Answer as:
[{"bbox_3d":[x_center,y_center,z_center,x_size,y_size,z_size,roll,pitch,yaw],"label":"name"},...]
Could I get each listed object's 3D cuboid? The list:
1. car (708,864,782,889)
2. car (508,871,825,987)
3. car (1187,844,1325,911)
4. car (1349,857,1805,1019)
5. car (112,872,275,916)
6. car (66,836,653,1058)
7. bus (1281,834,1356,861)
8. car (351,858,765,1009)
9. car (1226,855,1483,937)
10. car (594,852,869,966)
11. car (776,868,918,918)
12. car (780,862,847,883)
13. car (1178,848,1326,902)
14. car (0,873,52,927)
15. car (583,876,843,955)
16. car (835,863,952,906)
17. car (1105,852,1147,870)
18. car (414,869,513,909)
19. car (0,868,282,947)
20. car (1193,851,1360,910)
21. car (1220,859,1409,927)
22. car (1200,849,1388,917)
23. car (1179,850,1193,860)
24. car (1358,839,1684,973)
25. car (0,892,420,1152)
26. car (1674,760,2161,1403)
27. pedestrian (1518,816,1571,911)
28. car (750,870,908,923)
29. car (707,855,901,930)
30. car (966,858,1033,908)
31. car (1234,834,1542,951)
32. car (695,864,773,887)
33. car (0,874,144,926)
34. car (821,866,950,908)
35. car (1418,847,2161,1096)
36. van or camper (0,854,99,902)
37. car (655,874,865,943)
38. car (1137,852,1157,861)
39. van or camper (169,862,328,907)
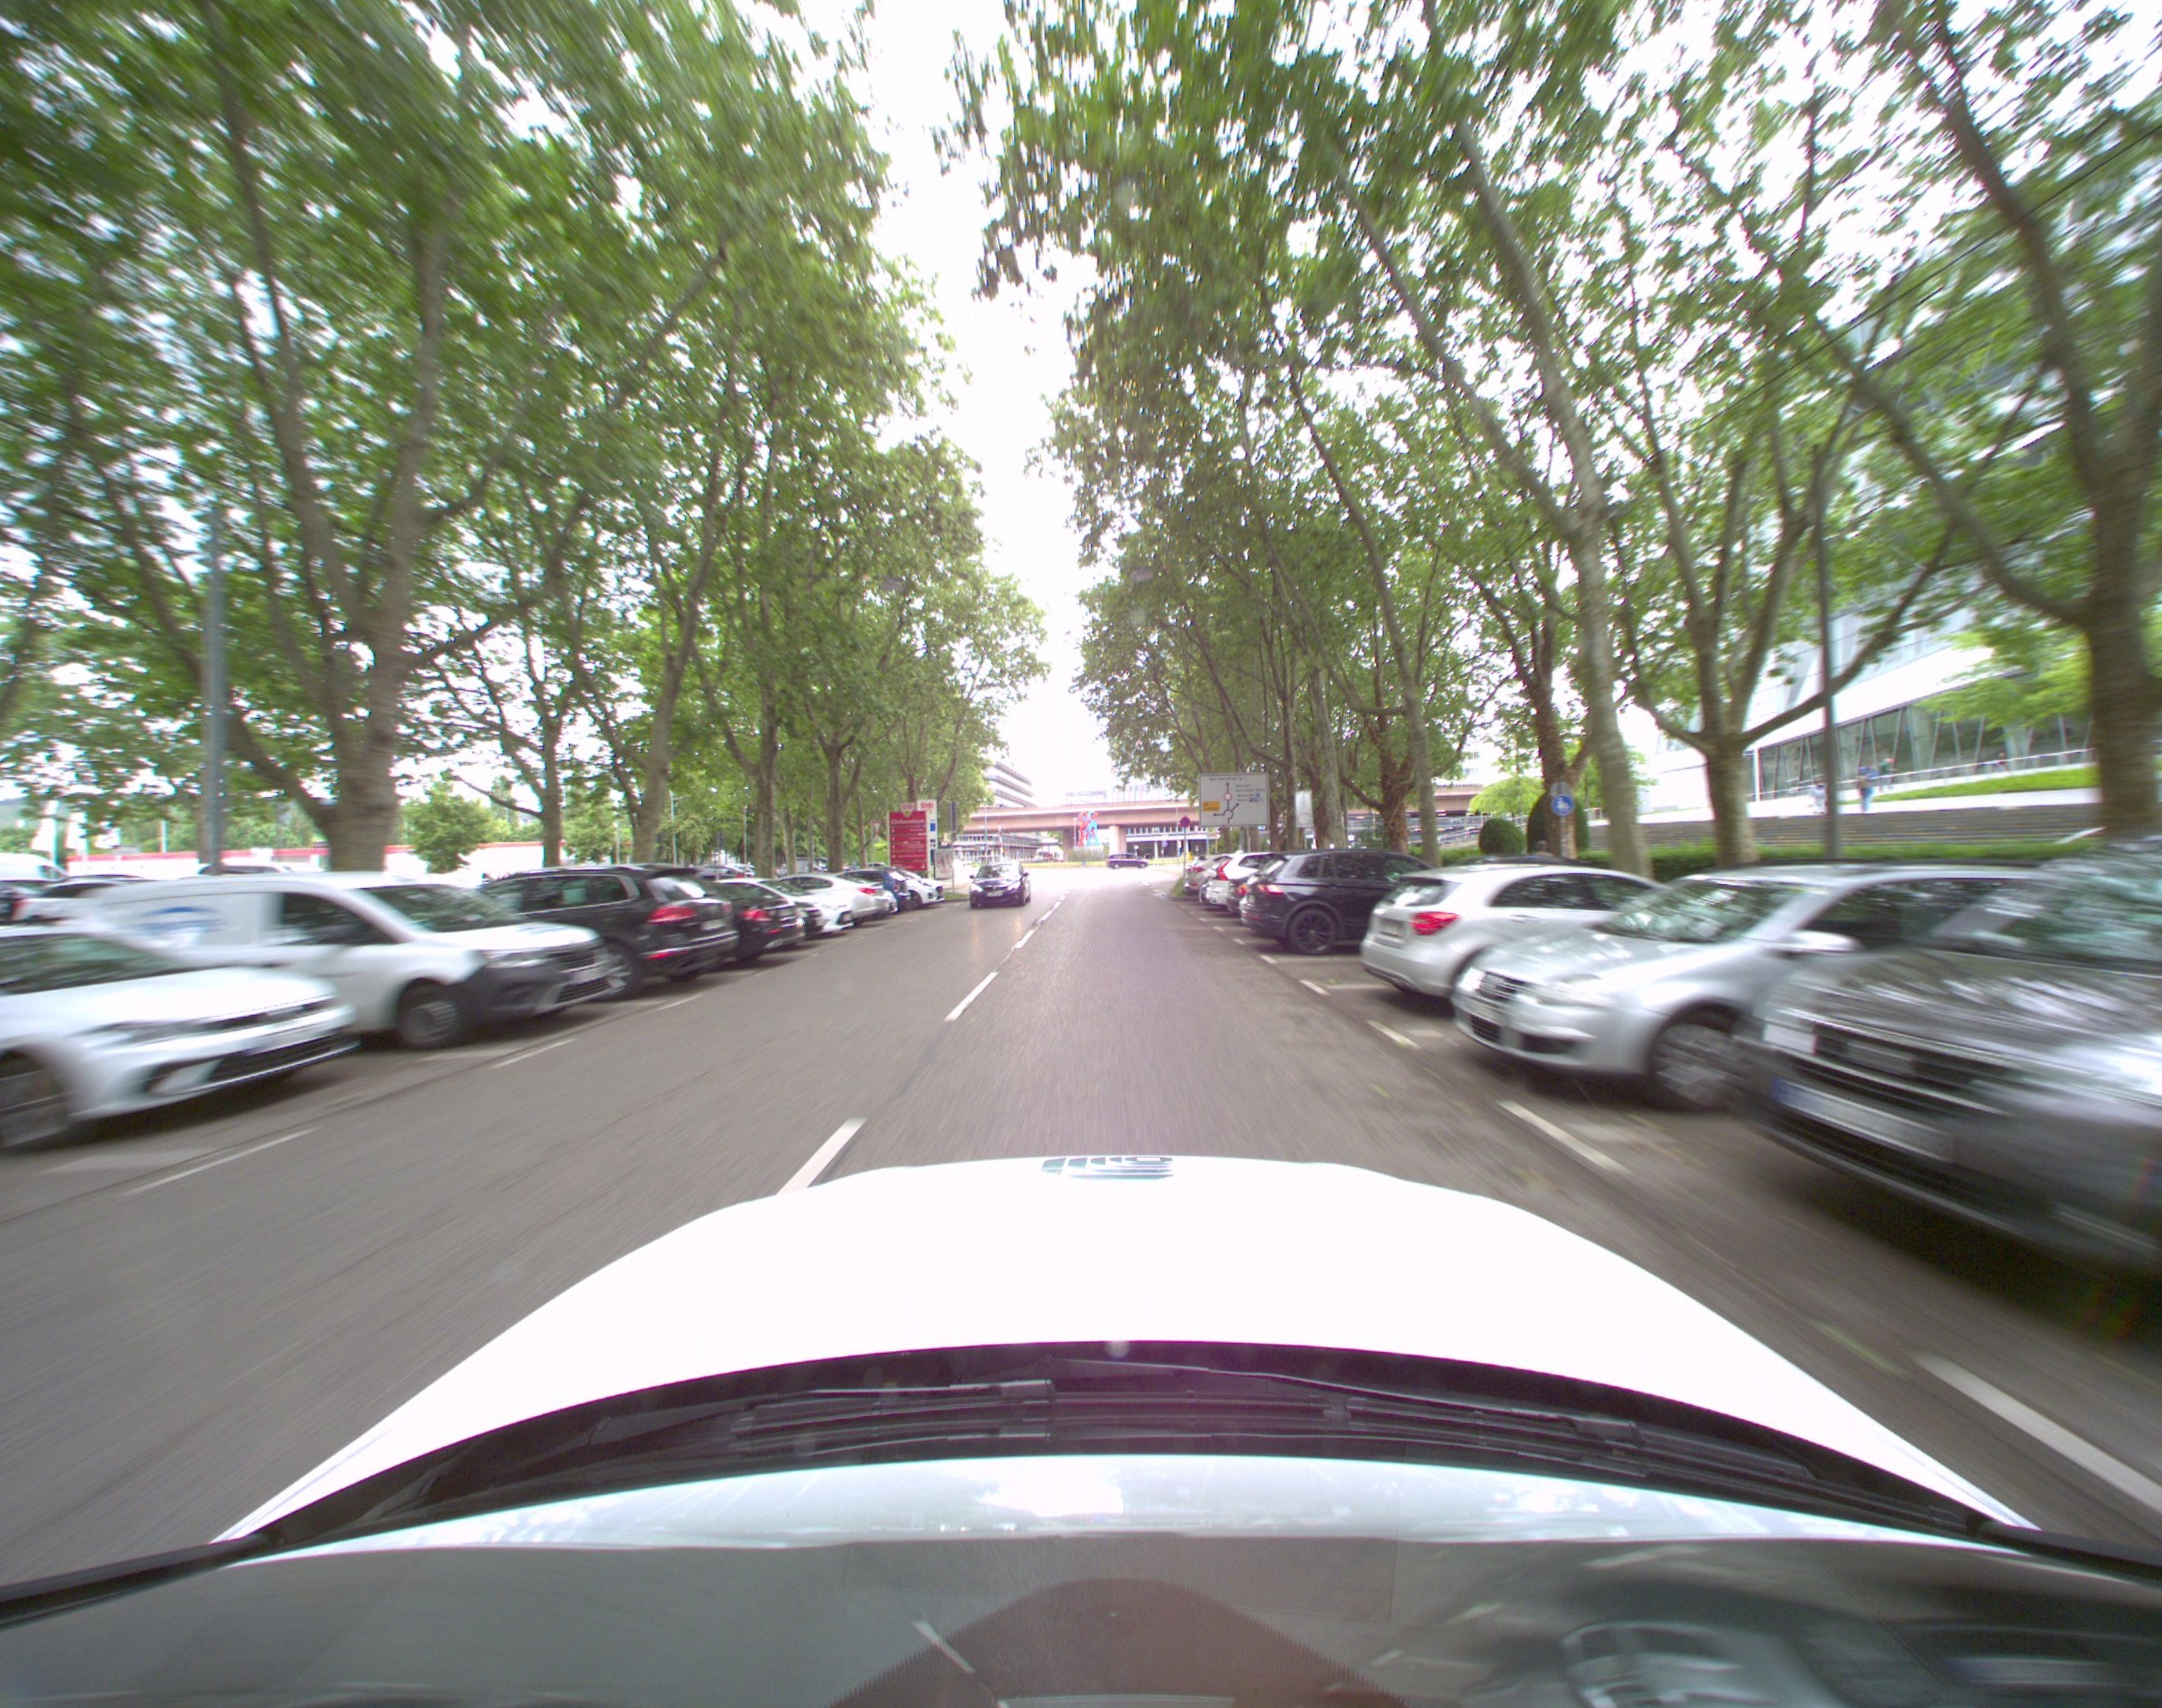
[{"bbox_3d":[-21.995,1.475,53.435,3.972,1.523,2.002,-1,-1,1],"label":"car"},{"bbox_3d":[-6.707,1.177,13.519,4.112,1.452,2.015,-4,0,3],"label":"car"},{"bbox_3d":[5.408,0.717,25.617,3.972,2.013,2.001,0,0,1],"label":"car"},{"bbox_3d":[4.779,0.756,8.201,3.630,1.427,1.664,0,0,-2],"label":"car"},{"bbox_3d":[-33.779,1.505,31.072,4.204,1.548,1.789,-1,-1,-1],"label":"car"},{"bbox_3d":[-7.214,0.855,8.569,4.307,1.810,1.866,-3,0,-3],"label":"car"},{"bbox_3d":[35.199,-0.949,120.860,11.079,3.934,2.741,-1,-1,-19],"label":"bus"},{"bbox_3d":[-6.869,0.993,11.080,4.302,1.795,2.037,-1,-1,1],"label":"car"},{"bbox_3d":[5.143,0.764,15.737,4.333,1.456,1.949,0,0,-1],"label":"car"},{"bbox_3d":[-6.515,0.985,15.533,4.302,1.810,1.868,-3,0,1],"label":"car"},{"bbox_3d":[-7.446,1.227,26.196,3.980,1.493,1.832,-1,-1,1],"label":"car"},{"bbox_3d":[-21.317,1.469,65.087,4.606,1.568,2.110,-1,-2,3],"label":"car"},{"bbox_3d":[5.300,0.620,25.730,4.330,1.633,1.926,0,0,1],"label":"car"},{"bbox_3d":[-33.612,1.372,23.905,4.306,1.548,1.959,-1,-1,0],"label":"car"},{"bbox_3d":[-7.041,1.153,15.948,4.177,1.354,1.966,-1,-1,-1],"label":"car"},{"bbox_3d":[-7.098,1.149,31.139,3.977,1.540,1.806,-1,-1,2],"label":"car"},{"bbox_3d":[5.435,0.829,98.767,4.763,2.014,2.278,-1,-1,-7],"label":"car"},{"bbox_3d":[-26.474,1.434,35.119,2.101,1.552,4.942,-1,-1,-21],"label":"car"},{"bbox_3d":[-22.450,1.245,19.599,4.306,1.709,2.131,-1,-1,0],"label":"car"},{"bbox_3d":[5.452,0.716,23.106,4.330,1.605,1.926,0,0,1],"label":"car"},{"bbox_3d":[5.109,0.830,18.163,3.718,1.402,1.776,0,0,0],"label":"car"},{"bbox_3d":[5.321,0.701,20.742,4.330,1.633,1.926,0,0,1],"label":"car"},{"bbox_3d":[21.153,0.145,163.772,1.977,2.014,4.019,-1,-1,19],"label":"car"},{"bbox_3d":[5.723,0.648,10.912,3.423,1.492,1.680,-3,0,0],"label":"car"},{"bbox_3d":[-7.503,1.170,5.871,3.782,1.472,1.759,-3,0,-10],"label":"car"},{"bbox_3d":[5.098,0.604,3.144,4.333,1.745,1.836,0,0,-1],"label":"car"},{"bbox_3d":[10.116,0.201,17.778,0.786,2.014,0.596,-1,-1,-15],"label":"pedestrian"},{"bbox_3d":[-7.275,1.204,23.797,3.973,1.405,1.862,-1,-1,1],"label":"car"},{"bbox_3d":[-7.042,0.953,21.054,4.251,1.548,1.907,-4,-1,-1],"label":"car"},{"bbox_3d":[-2.681,0.930,27.497,1.836,1.510,4.014,-1,-1,0],"label":"car"},{"bbox_3d":[4.843,0.588,13.311,4.332,1.761,1.925,0,0,-1],"label":"car"},{"bbox_3d":[-21.557,1.306,50.698,3.973,1.324,2.002,-1,-1,0],"label":"car"},{"bbox_3d":[-33.478,1.465,26.226,4.306,1.548,1.959,-1,-1,0],"label":"car"},{"bbox_3d":[-6.830,1.151,28.723,3.975,1.385,1.914,-1,-1,4],"label":"car"},{"bbox_3d":[4.766,0.700,5.683,4.133,1.458,1.728,0,0,1],"label":"car"},{"bbox_3d":[-46.163,1.012,34.779,1.987,2.014,5.303,-1,-1,1],"label":"van or camper"},{"bbox_3d":[-7.140,1.187,18.429,3.974,1.404,1.885,-1,-1,0],"label":"car"},{"bbox_3d":[13.430,0.444,165.748,1.974,1.772,4.025,-1,-1,40],"label":"car"},{"bbox_3d":[-34.125,1.235,33.489,4.306,1.709,2.131,-1,-1,0],"label":"van or camper"}]
